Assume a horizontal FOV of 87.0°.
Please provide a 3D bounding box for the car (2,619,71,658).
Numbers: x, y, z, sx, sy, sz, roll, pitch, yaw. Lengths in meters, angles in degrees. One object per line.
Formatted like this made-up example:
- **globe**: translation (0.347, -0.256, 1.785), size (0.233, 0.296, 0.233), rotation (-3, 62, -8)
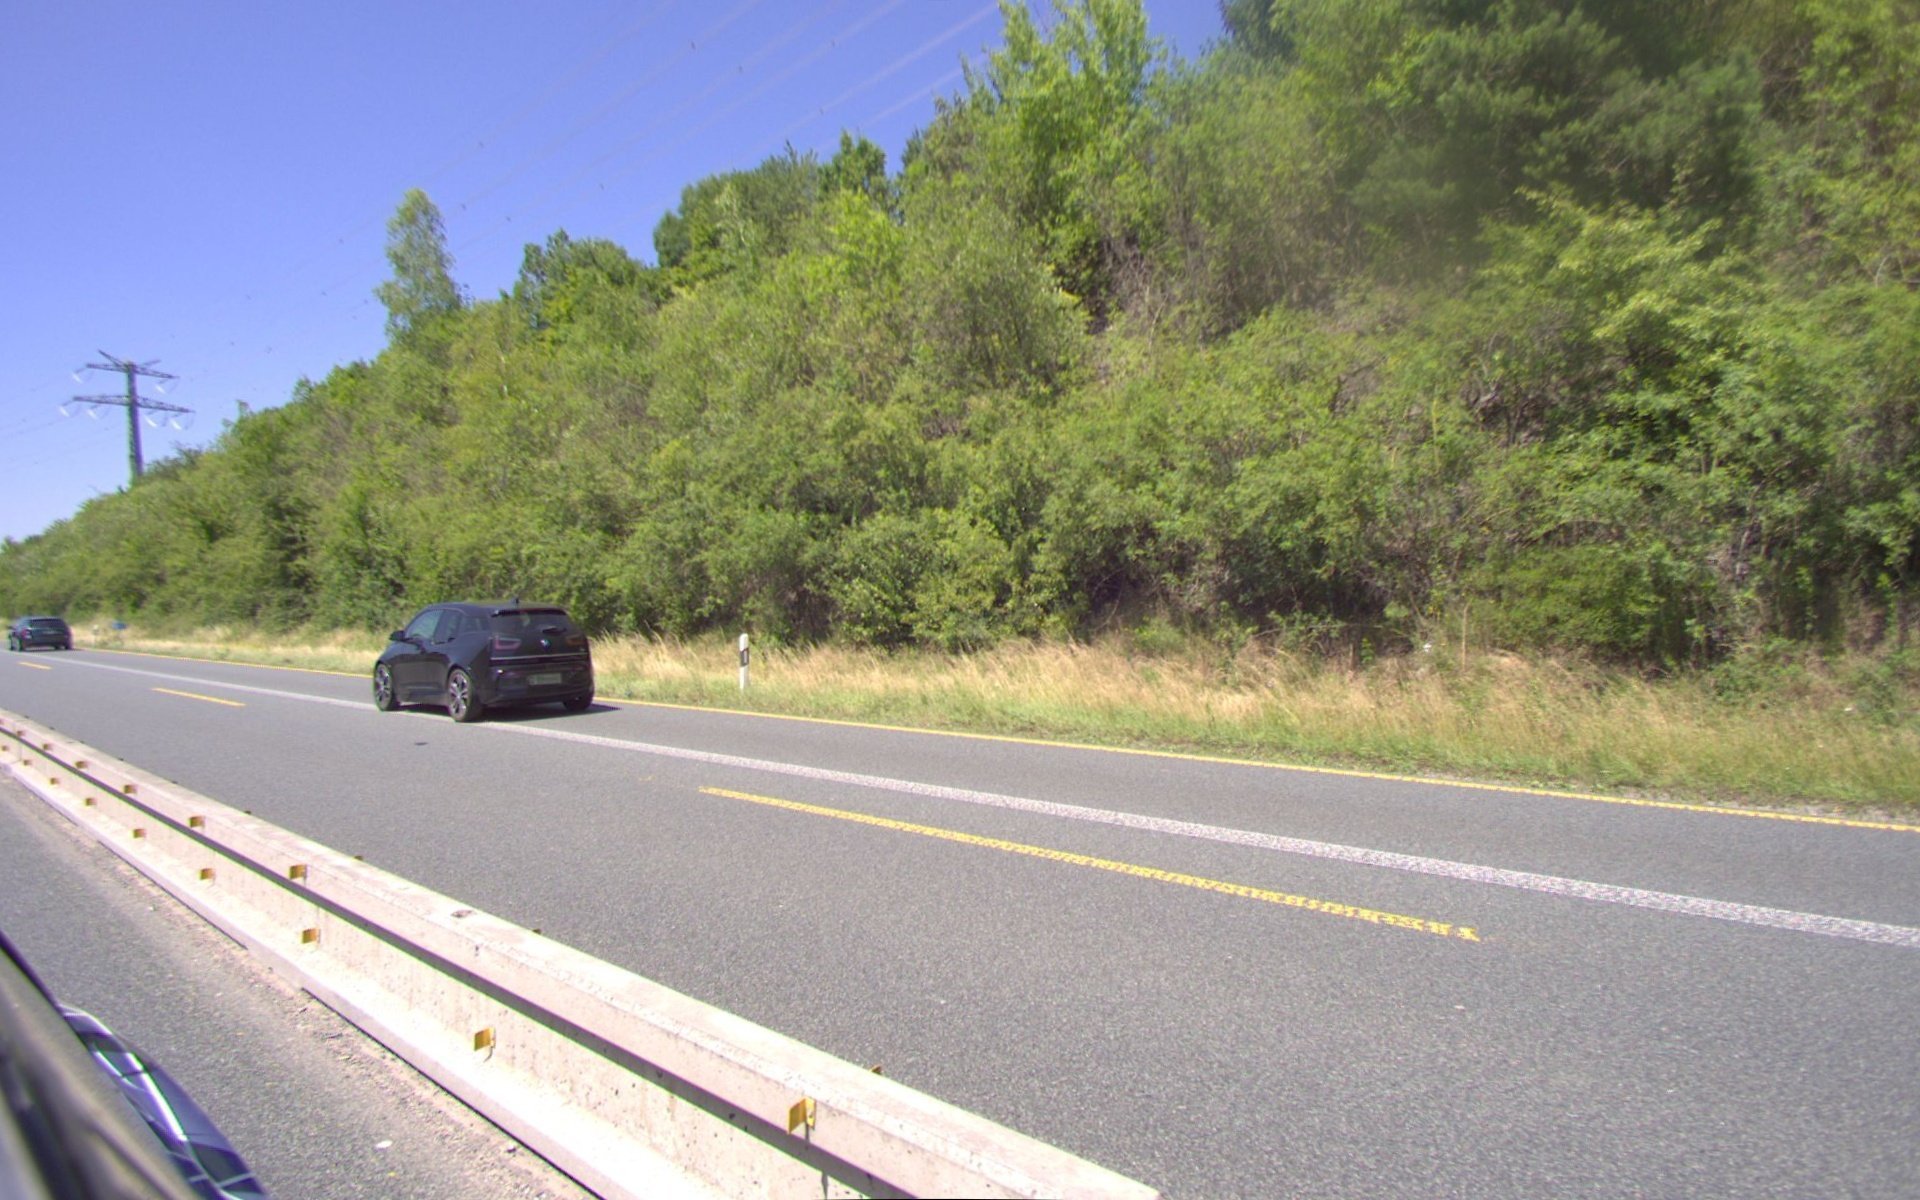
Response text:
- **car**: translation (-39.286, 1.595, 43.012), size (4.182, 1.533, 1.705), rotation (-1, 0, 41)

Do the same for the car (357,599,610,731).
- **car**: translation (-6.840, 0.822, 14.357), size (4.067, 1.588, 1.760), rotation (-1, 0, 41)
